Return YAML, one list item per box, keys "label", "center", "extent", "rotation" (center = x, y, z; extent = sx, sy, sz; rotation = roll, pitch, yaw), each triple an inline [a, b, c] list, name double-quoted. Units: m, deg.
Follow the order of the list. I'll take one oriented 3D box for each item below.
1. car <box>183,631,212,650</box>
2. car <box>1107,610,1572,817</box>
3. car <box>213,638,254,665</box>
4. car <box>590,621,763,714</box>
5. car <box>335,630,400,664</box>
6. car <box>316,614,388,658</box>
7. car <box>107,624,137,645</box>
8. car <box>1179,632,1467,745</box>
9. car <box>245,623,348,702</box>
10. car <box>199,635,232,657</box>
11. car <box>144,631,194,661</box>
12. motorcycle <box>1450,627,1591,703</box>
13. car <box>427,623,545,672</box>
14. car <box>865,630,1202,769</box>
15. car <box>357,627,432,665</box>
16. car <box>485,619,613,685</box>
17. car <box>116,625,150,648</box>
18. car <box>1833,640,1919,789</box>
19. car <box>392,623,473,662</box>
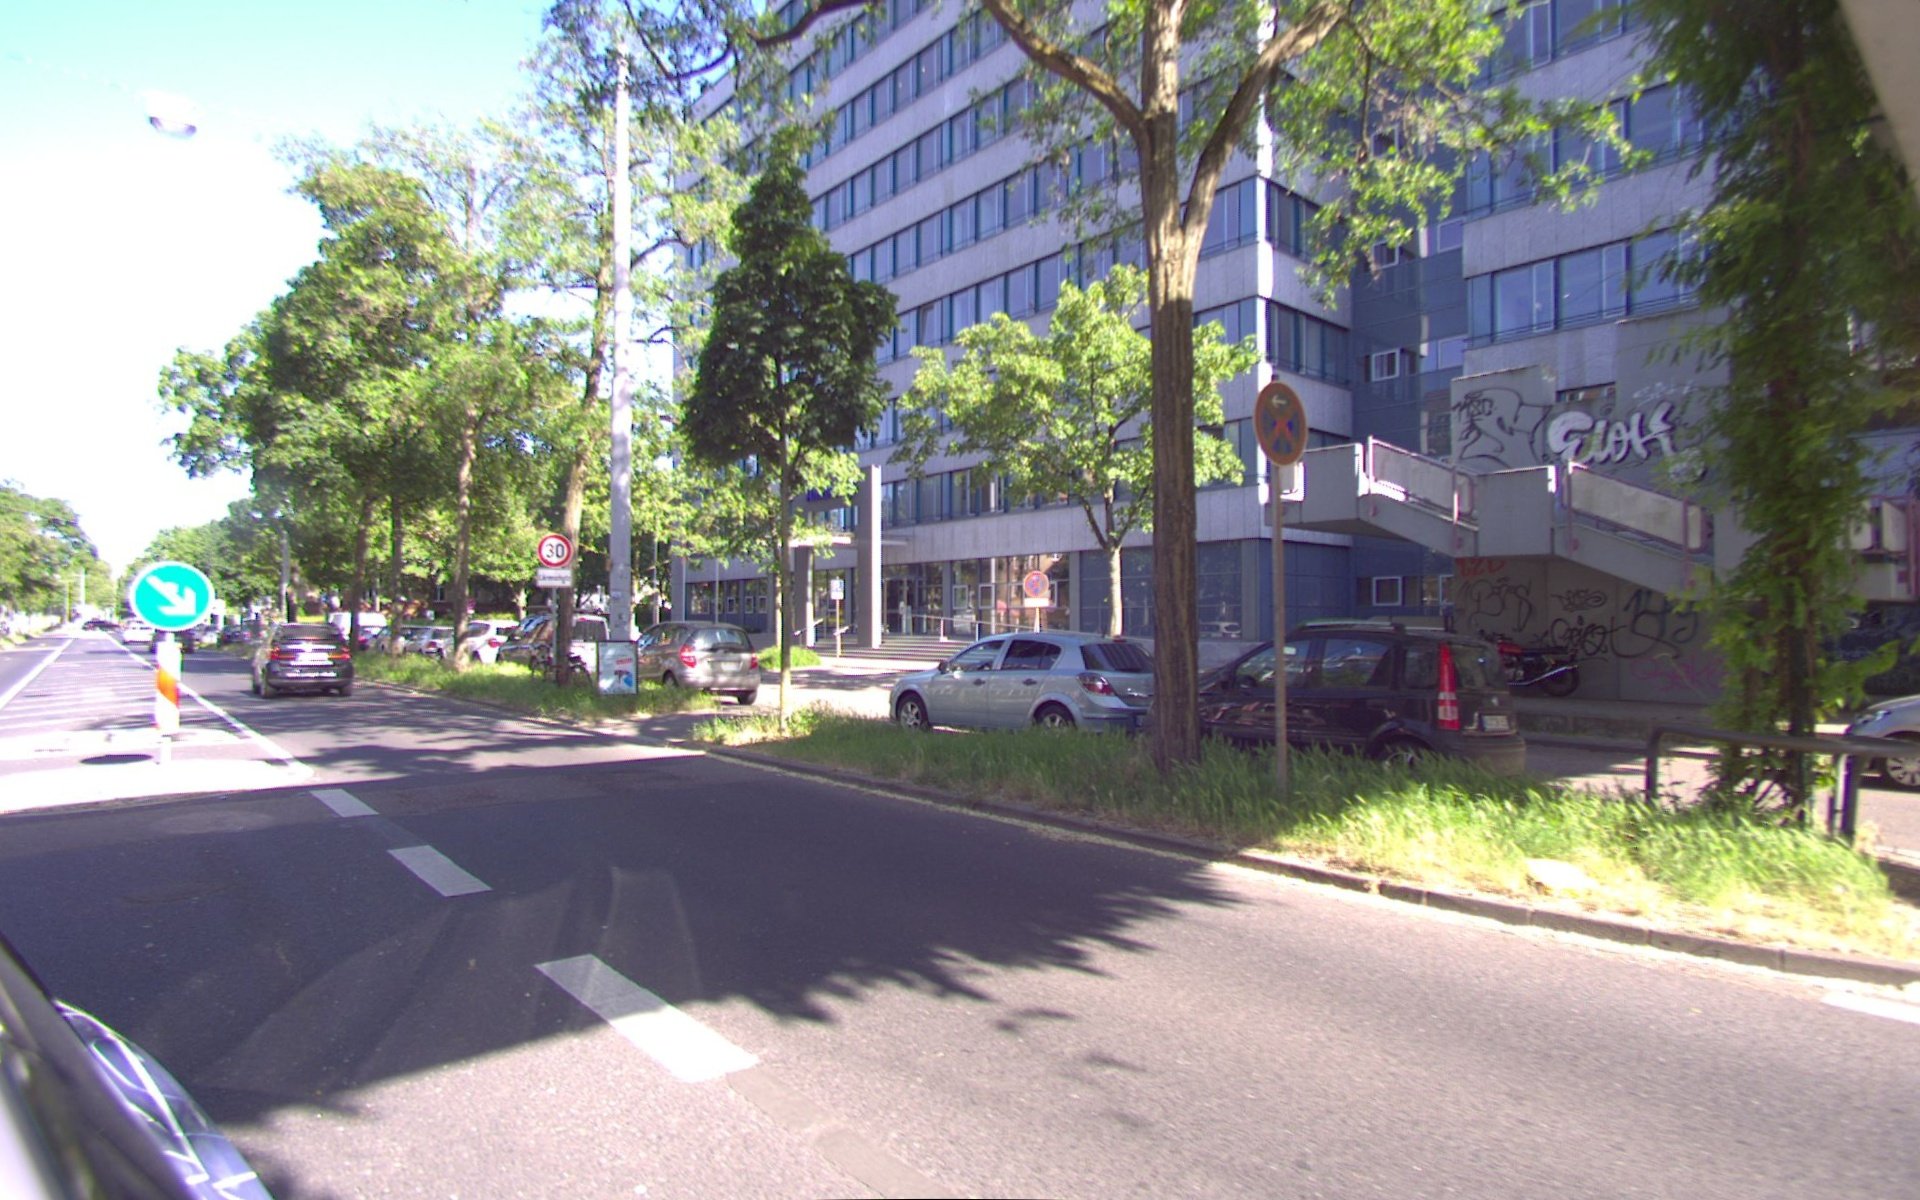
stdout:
- label: "car"
  center: [-61.208, 3.224, 81.227]
  extent: [1.582, 1.425, 4.006]
  rotation: [1, -2, -40]
- label: "car"
  center: [3.416, 0.941, 9.629]
  extent: [1.718, 1.550, 3.785]
  rotation: [4, -4, -41]
- label: "car"
  center: [-43.967, 3.071, 61.216]
  extent: [1.714, 1.501, 4.006]
  rotation: [1, -2, -40]
- label: "car"
  center: [-5.731, 1.267, 20.175]
  extent: [1.751, 1.659, 4.089]
  rotation: [2, -2, -40]
- label: "car"
  center: [-24.903, 1.919, 42.477]
  extent: [1.654, 1.343, 4.195]
  rotation: [1, -2, -41]
- label: "car"
  center: [-28.129, 1.644, 46.764]
  extent: [2.040, 1.923, 4.531]
  rotation: [1, -2, -42]
- label: "car"
  center: [-81.228, 3.310, 98.110]
  extent: [2.136, 2.029, 4.418]
  rotation: [1, -2, -39]
- label: "car"
  center: [5.645, 1.298, 16.132]
  extent: [1.711, 1.542, 4.006]
  rotation: [2, -3, -41]
- label: "car"
  center: [-13.919, 1.261, 21.184]
  extent: [1.448, 1.539, 2.821]
  rotation: [2, -3, -40]
- label: "car"
  center: [-51.330, 3.171, 69.770]
  extent: [1.582, 1.425, 4.006]
  rotation: [1, -2, -40]
- label: "car"
  center: [-40.940, 2.365, 52.335]
  extent: [1.765, 1.433, 4.194]
  rotation: [3, -3, -41]
- label: "motorcycle"
  center: [9.892, 1.112, 17.938]
  extent: [0.720, 1.280, 2.056]
  rotation: [2, -2, -42]
- label: "car"
  center: [-14.419, 1.391, 30.657]
  extent: [4.493, 1.394, 1.697]
  rotation: [-2, -2, 43]
- label: "car"
  center: [0.769, 1.161, 12.837]
  extent: [1.632, 1.459, 4.287]
  rotation: [6, -5, -42]
- label: "car"
  center: [-21.531, 1.704, 38.499]
  extent: [1.632, 1.355, 3.974]
  rotation: [1, -2, -42]
- label: "car"
  center: [-10.693, 1.277, 26.152]
  extent: [1.708, 1.561, 4.455]
  rotation: [1, -2, -41]
- label: "car"
  center: [-59.799, 2.646, 73.158]
  extent: [1.765, 1.596, 4.194]
  rotation: [1, -2, -42]
- label: "car"
  center: [11.083, 1.159, 9.909]
  extent: [1.586, 1.497, 3.653]
  rotation: [2, -2, -42]
- label: "car"
  center: [-17.878, 1.414, 34.242]
  extent: [1.630, 1.236, 3.853]
  rotation: [1, -2, -40]
